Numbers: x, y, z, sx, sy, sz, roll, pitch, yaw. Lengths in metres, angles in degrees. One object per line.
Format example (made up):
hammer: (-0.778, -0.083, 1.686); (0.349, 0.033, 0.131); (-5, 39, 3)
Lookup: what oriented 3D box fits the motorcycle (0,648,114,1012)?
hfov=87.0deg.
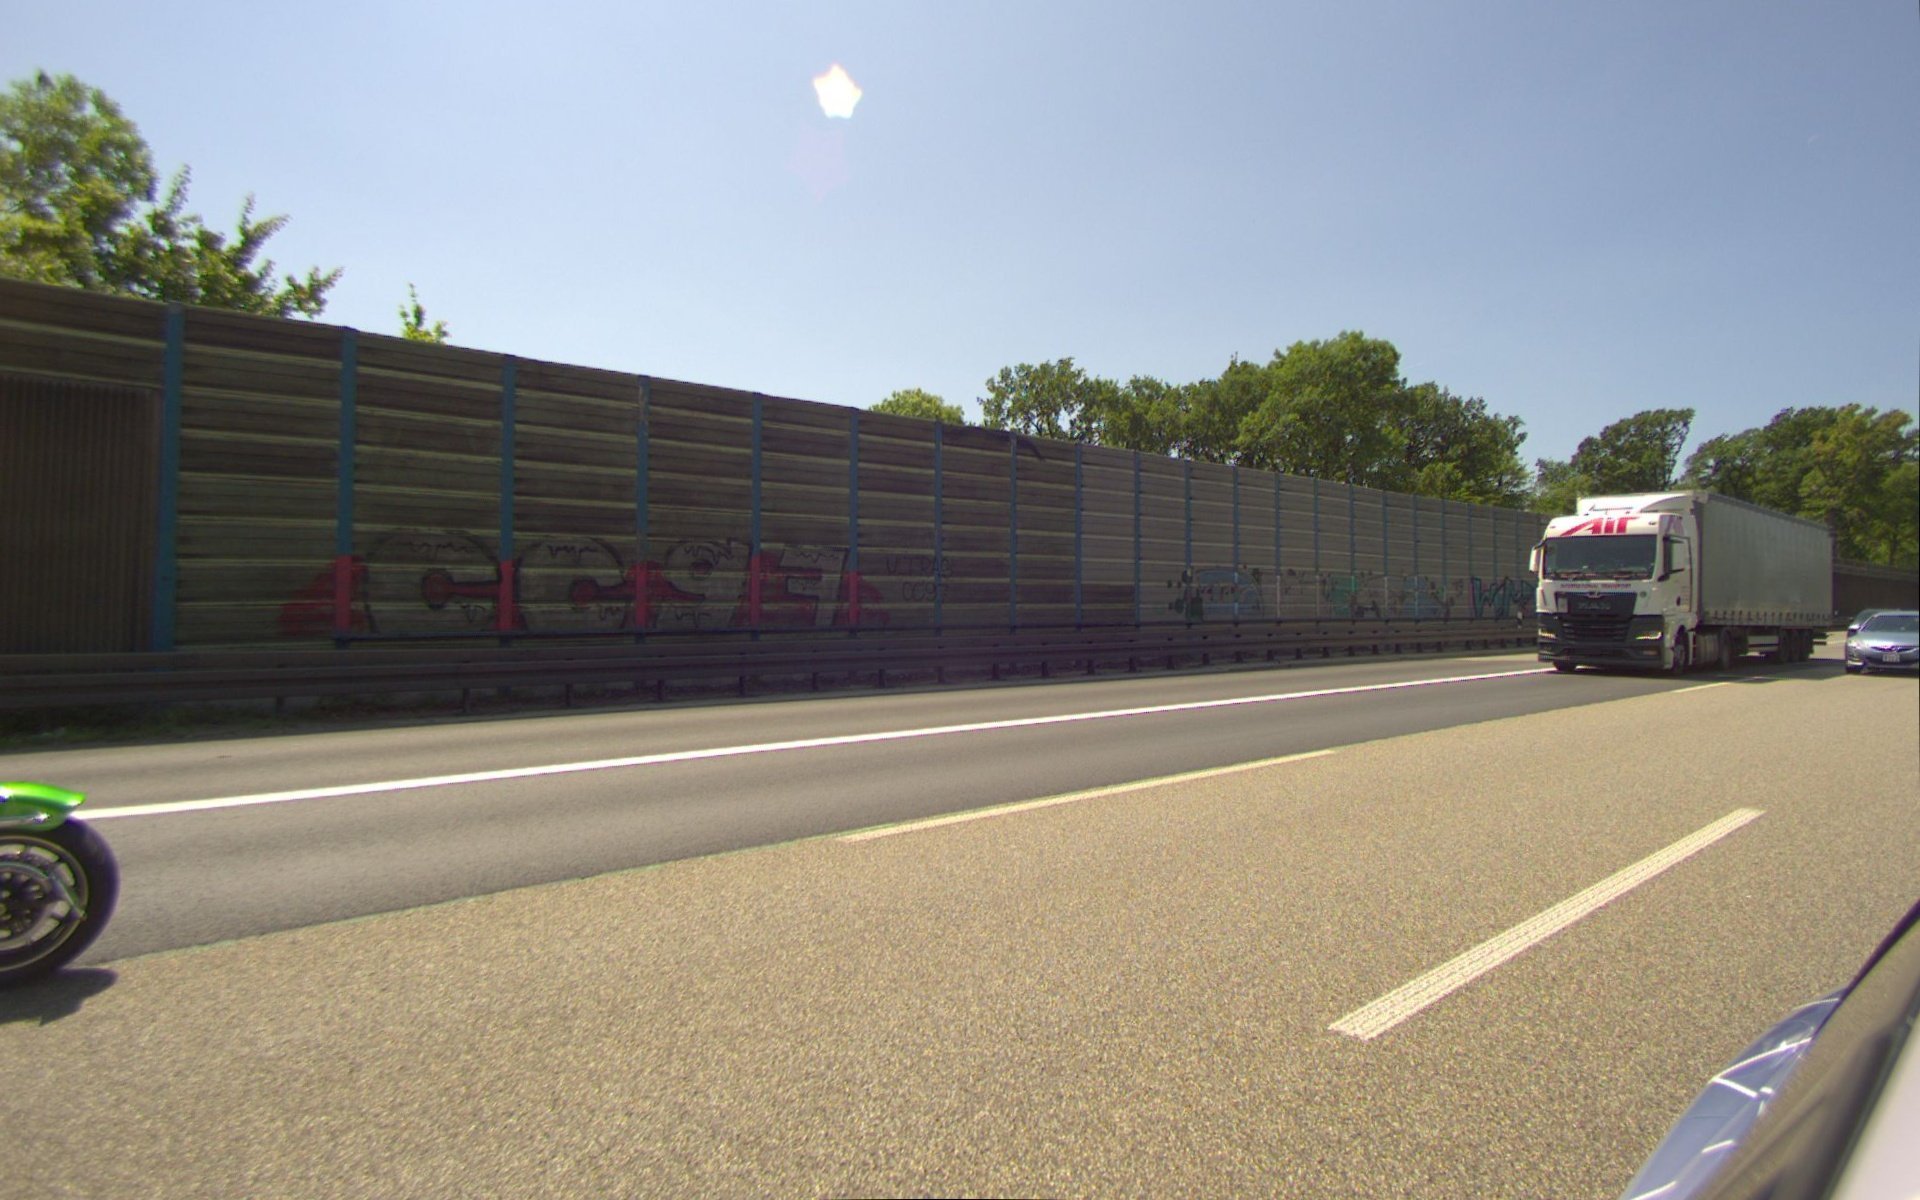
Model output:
motorcycle: (-4.221, 0.794, 3.258); (2.234, 1.197, 0.862); (1, -1, -38)

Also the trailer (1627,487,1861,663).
trailer: (22.952, -0.613, 29.127); (13.350, 4.142, 2.603); (0, 0, -40)

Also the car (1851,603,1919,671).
car: (21.922, 0.809, 22.974); (4.100, 1.452, 1.860); (1, -1, -38)

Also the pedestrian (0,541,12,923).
pedestrian: (-3.835, 0.523, 3.554); (0.626, 1.497, 0.854); (1, -1, -37)

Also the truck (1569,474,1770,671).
truck: (16.902, -0.596, 24.001); (5.454, 4.142, 2.603); (0, 0, -40)

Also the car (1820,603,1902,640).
car: (38.899, 0.908, 43.674); (4.098, 1.512, 1.861); (1, -1, -36)
